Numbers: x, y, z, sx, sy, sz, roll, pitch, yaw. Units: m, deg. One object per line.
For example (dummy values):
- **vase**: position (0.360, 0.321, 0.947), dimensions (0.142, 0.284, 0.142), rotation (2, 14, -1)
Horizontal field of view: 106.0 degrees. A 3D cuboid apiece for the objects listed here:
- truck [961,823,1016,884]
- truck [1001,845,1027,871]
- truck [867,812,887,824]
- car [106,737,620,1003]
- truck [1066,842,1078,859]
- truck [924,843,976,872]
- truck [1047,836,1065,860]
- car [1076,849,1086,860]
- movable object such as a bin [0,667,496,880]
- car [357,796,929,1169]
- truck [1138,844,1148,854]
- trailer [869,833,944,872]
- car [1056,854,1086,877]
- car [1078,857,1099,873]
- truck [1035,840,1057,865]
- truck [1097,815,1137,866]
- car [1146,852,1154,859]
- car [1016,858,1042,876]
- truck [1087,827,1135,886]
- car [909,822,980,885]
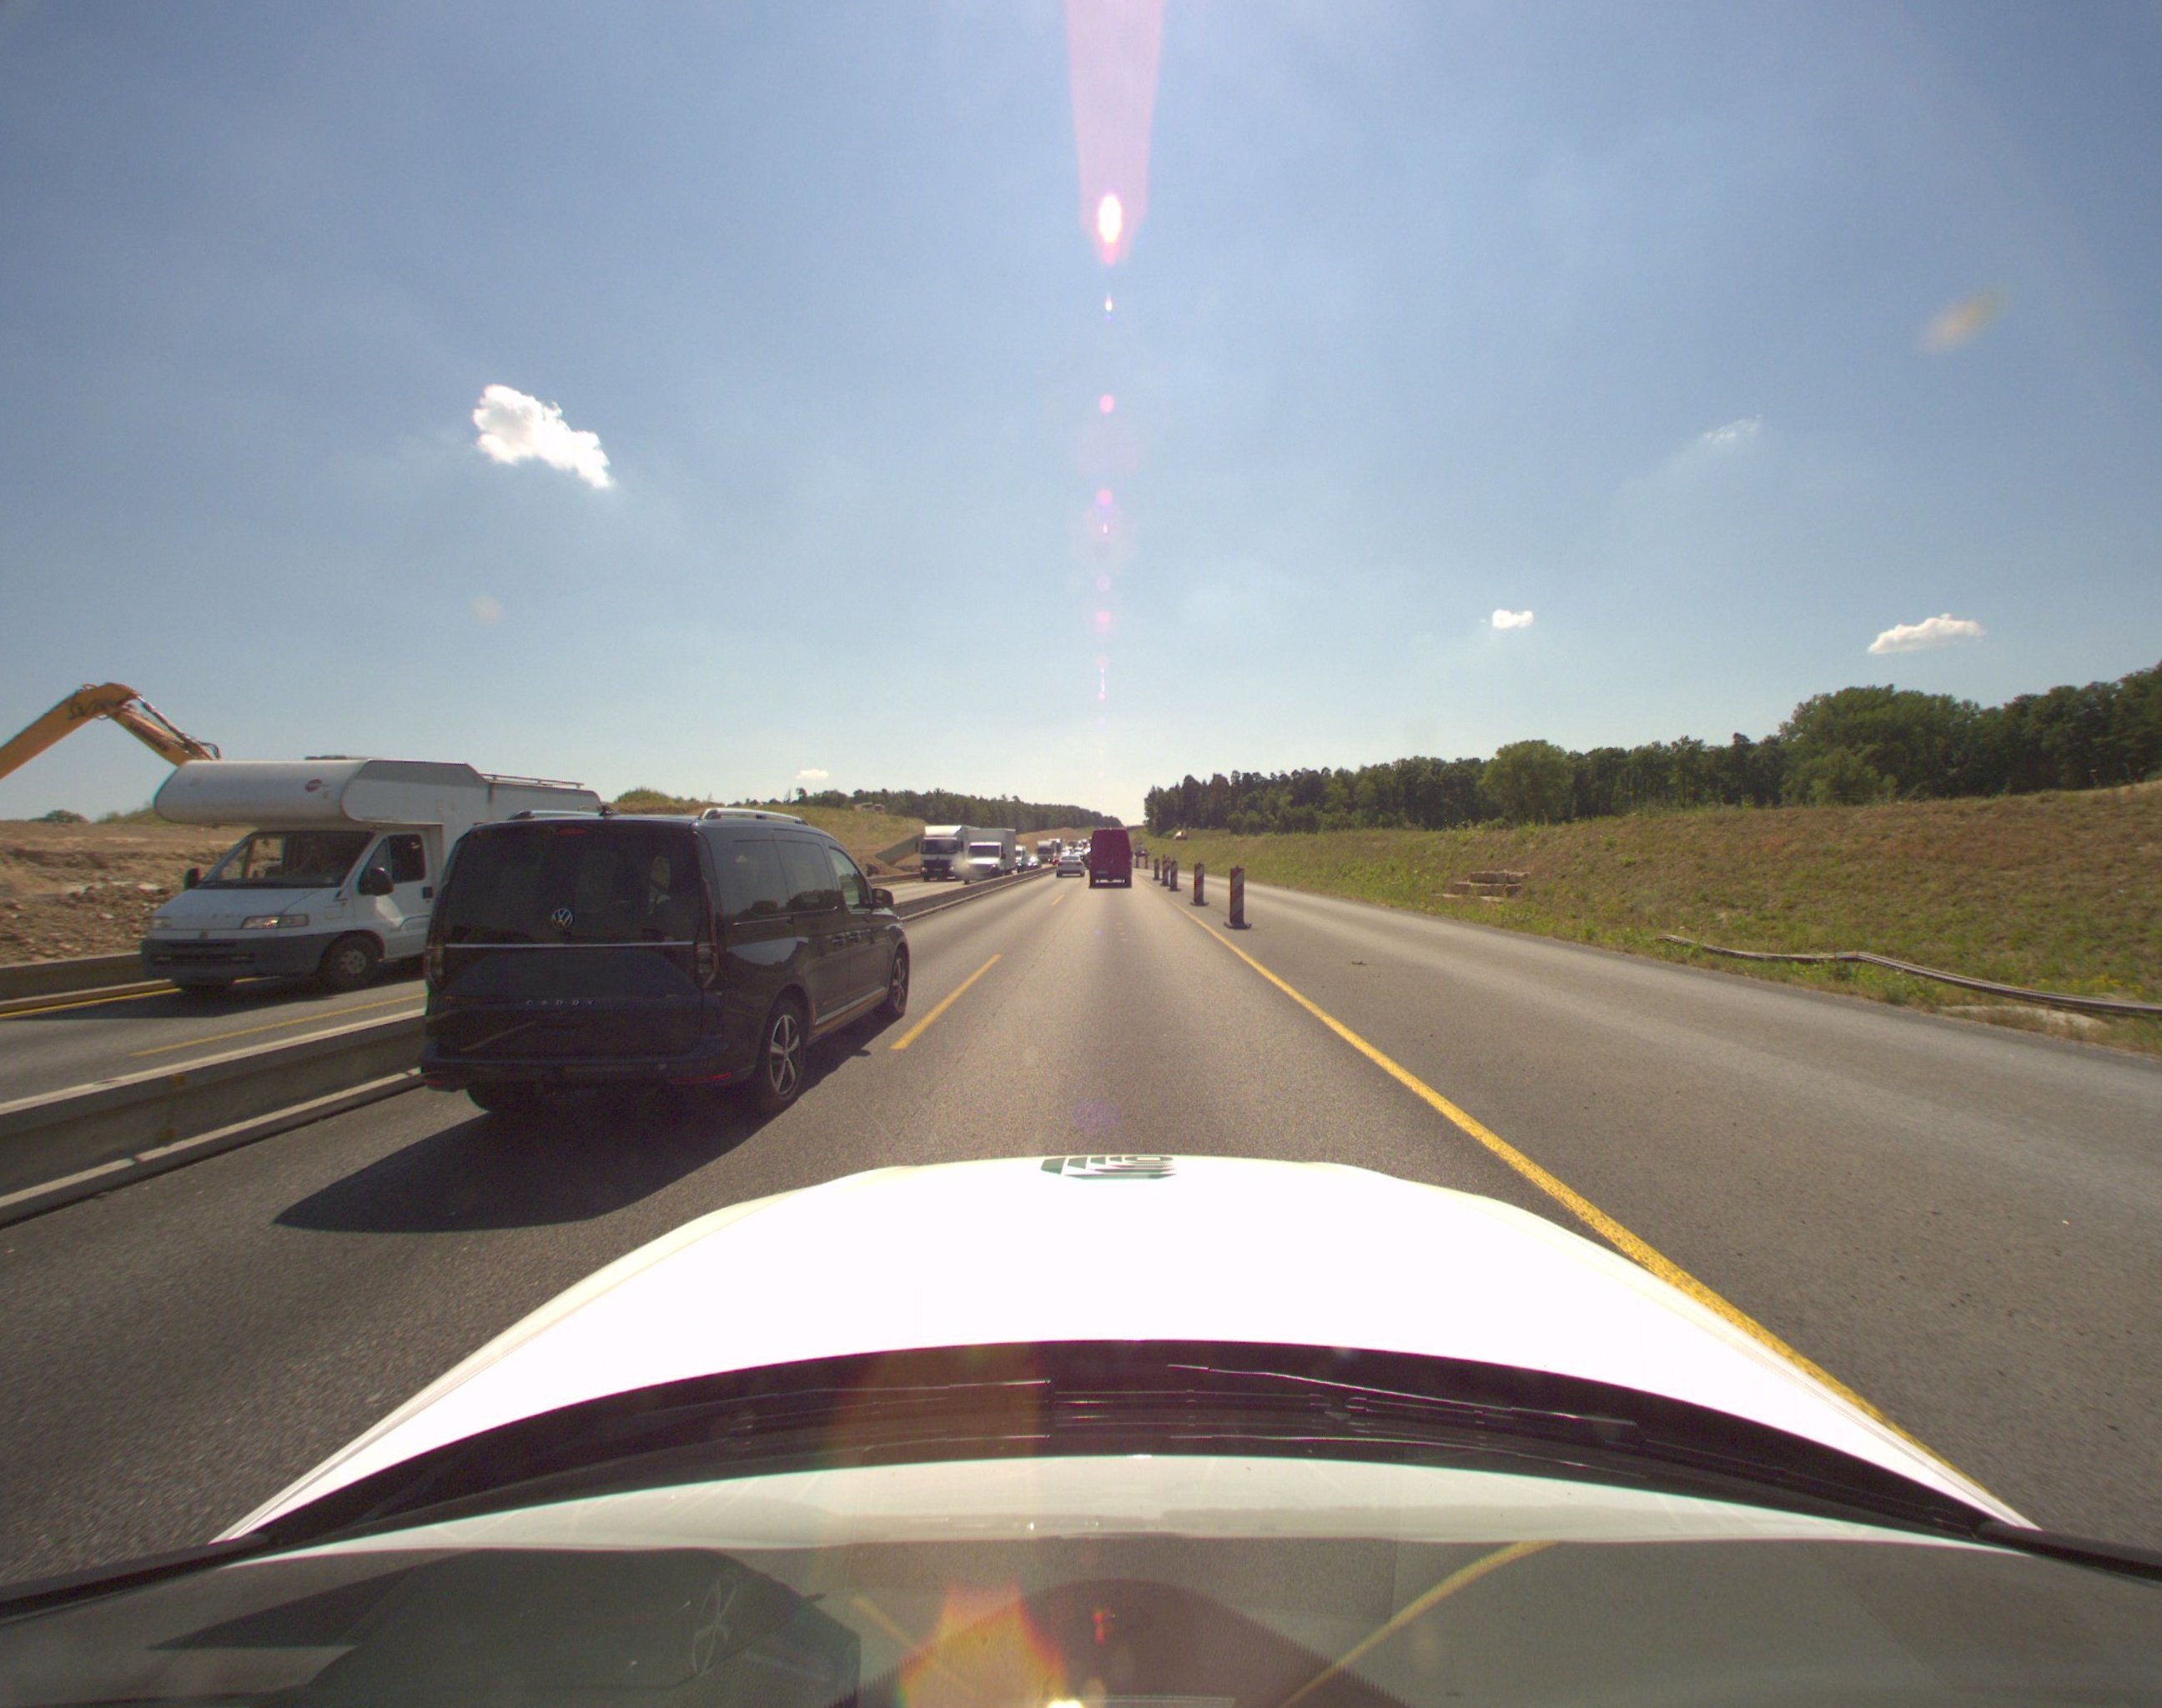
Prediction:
- **truck**: position (-5.071, 0.011, 45.708), dimensions (2.264, 3.150, 7.312), rotation (0, -1, 0)
- **truck**: position (-6.978, 0.382, 85.152), dimensions (2.091, 2.569, 6.356), rotation (0, 1, 1)
- **truck**: position (-54.891, -9.718, 218.821), dimensions (2.311, 2.749, 8.813), rotation (0, -1, -34)
- **car**: position (-9.665, 0.203, 12.014), dimensions (2.243, 2.955, 5.851), rotation (0, -1, 2)
- **truck**: position (-2.285, -0.953, 217.946), dimensions (2.480, 4.198, 5.919), rotation (-2, 0, 4)
- **truck**: position (-14.218, 0.410, 88.580), dimensions (5.090, 2.964, 2.555), rotation (1, -2, -43)
- **truck**: position (-4.460, -1.030, 145.617), dimensions (2.838, 4.018, 4.861), rotation (-2, -1, 2)
- **car**: position (-0.011, 0.136, 178.662), dimensions (1.986, 2.292, 5.345), rotation (0, 0, 1)
- **movable object such as a bin**: position (-30.337, -2.552, 27.955), dimensions (18.153, 6.773, 3.389), rotation (0, -1, 1)
- **car**: position (-2.606, 0.612, 6.395), dimensions (1.745, 1.824, 4.785), rotation (0, 0, 2)
- **truck**: position (15.608, -1.379, 204.539), dimensions (2.117, 2.457, 5.940), rotation (0, 1, 9)
- **trailer**: position (-19.166, -0.130, 89.204), dimensions (8.263, 4.098, 2.817), rotation (-1, -1, 29)
- **car**: position (-0.648, 0.747, 54.659), dimensions (1.824, 1.522, 3.963), rotation (0, 0, 2)
- **car**: position (0.785, 1.052, 80.830), dimensions (1.959, 1.541, 4.313), rotation (0, 0, 2)
- **truck**: position (-5.397, -0.204, 125.933), dimensions (2.634, 3.716, 9.486), rotation (0, 0, 2)
- **truck**: position (4.216, -1.365, 96.599), dimensions (4.383, 5.496, 16.610), rotation (0, 0, 2)
- **car**: position (15.717, 0.275, 186.528), dimensions (1.647, 1.426, 4.548), rotation (-3, 1, 2)
- **car**: position (-4.459, 1.117, 70.000), dimensions (1.781, 1.482, 4.563), rotation (0, 0, 2)
- **truck**: position (1.431, 0.122, 38.971), dimensions (2.145, 2.590, 5.335), rotation (0, 0, 2)
- **car**: position (-8.532, -0.046, 52.056), dimensions (2.897, 3.740, 8.094), rotation (0, 0, 2)
